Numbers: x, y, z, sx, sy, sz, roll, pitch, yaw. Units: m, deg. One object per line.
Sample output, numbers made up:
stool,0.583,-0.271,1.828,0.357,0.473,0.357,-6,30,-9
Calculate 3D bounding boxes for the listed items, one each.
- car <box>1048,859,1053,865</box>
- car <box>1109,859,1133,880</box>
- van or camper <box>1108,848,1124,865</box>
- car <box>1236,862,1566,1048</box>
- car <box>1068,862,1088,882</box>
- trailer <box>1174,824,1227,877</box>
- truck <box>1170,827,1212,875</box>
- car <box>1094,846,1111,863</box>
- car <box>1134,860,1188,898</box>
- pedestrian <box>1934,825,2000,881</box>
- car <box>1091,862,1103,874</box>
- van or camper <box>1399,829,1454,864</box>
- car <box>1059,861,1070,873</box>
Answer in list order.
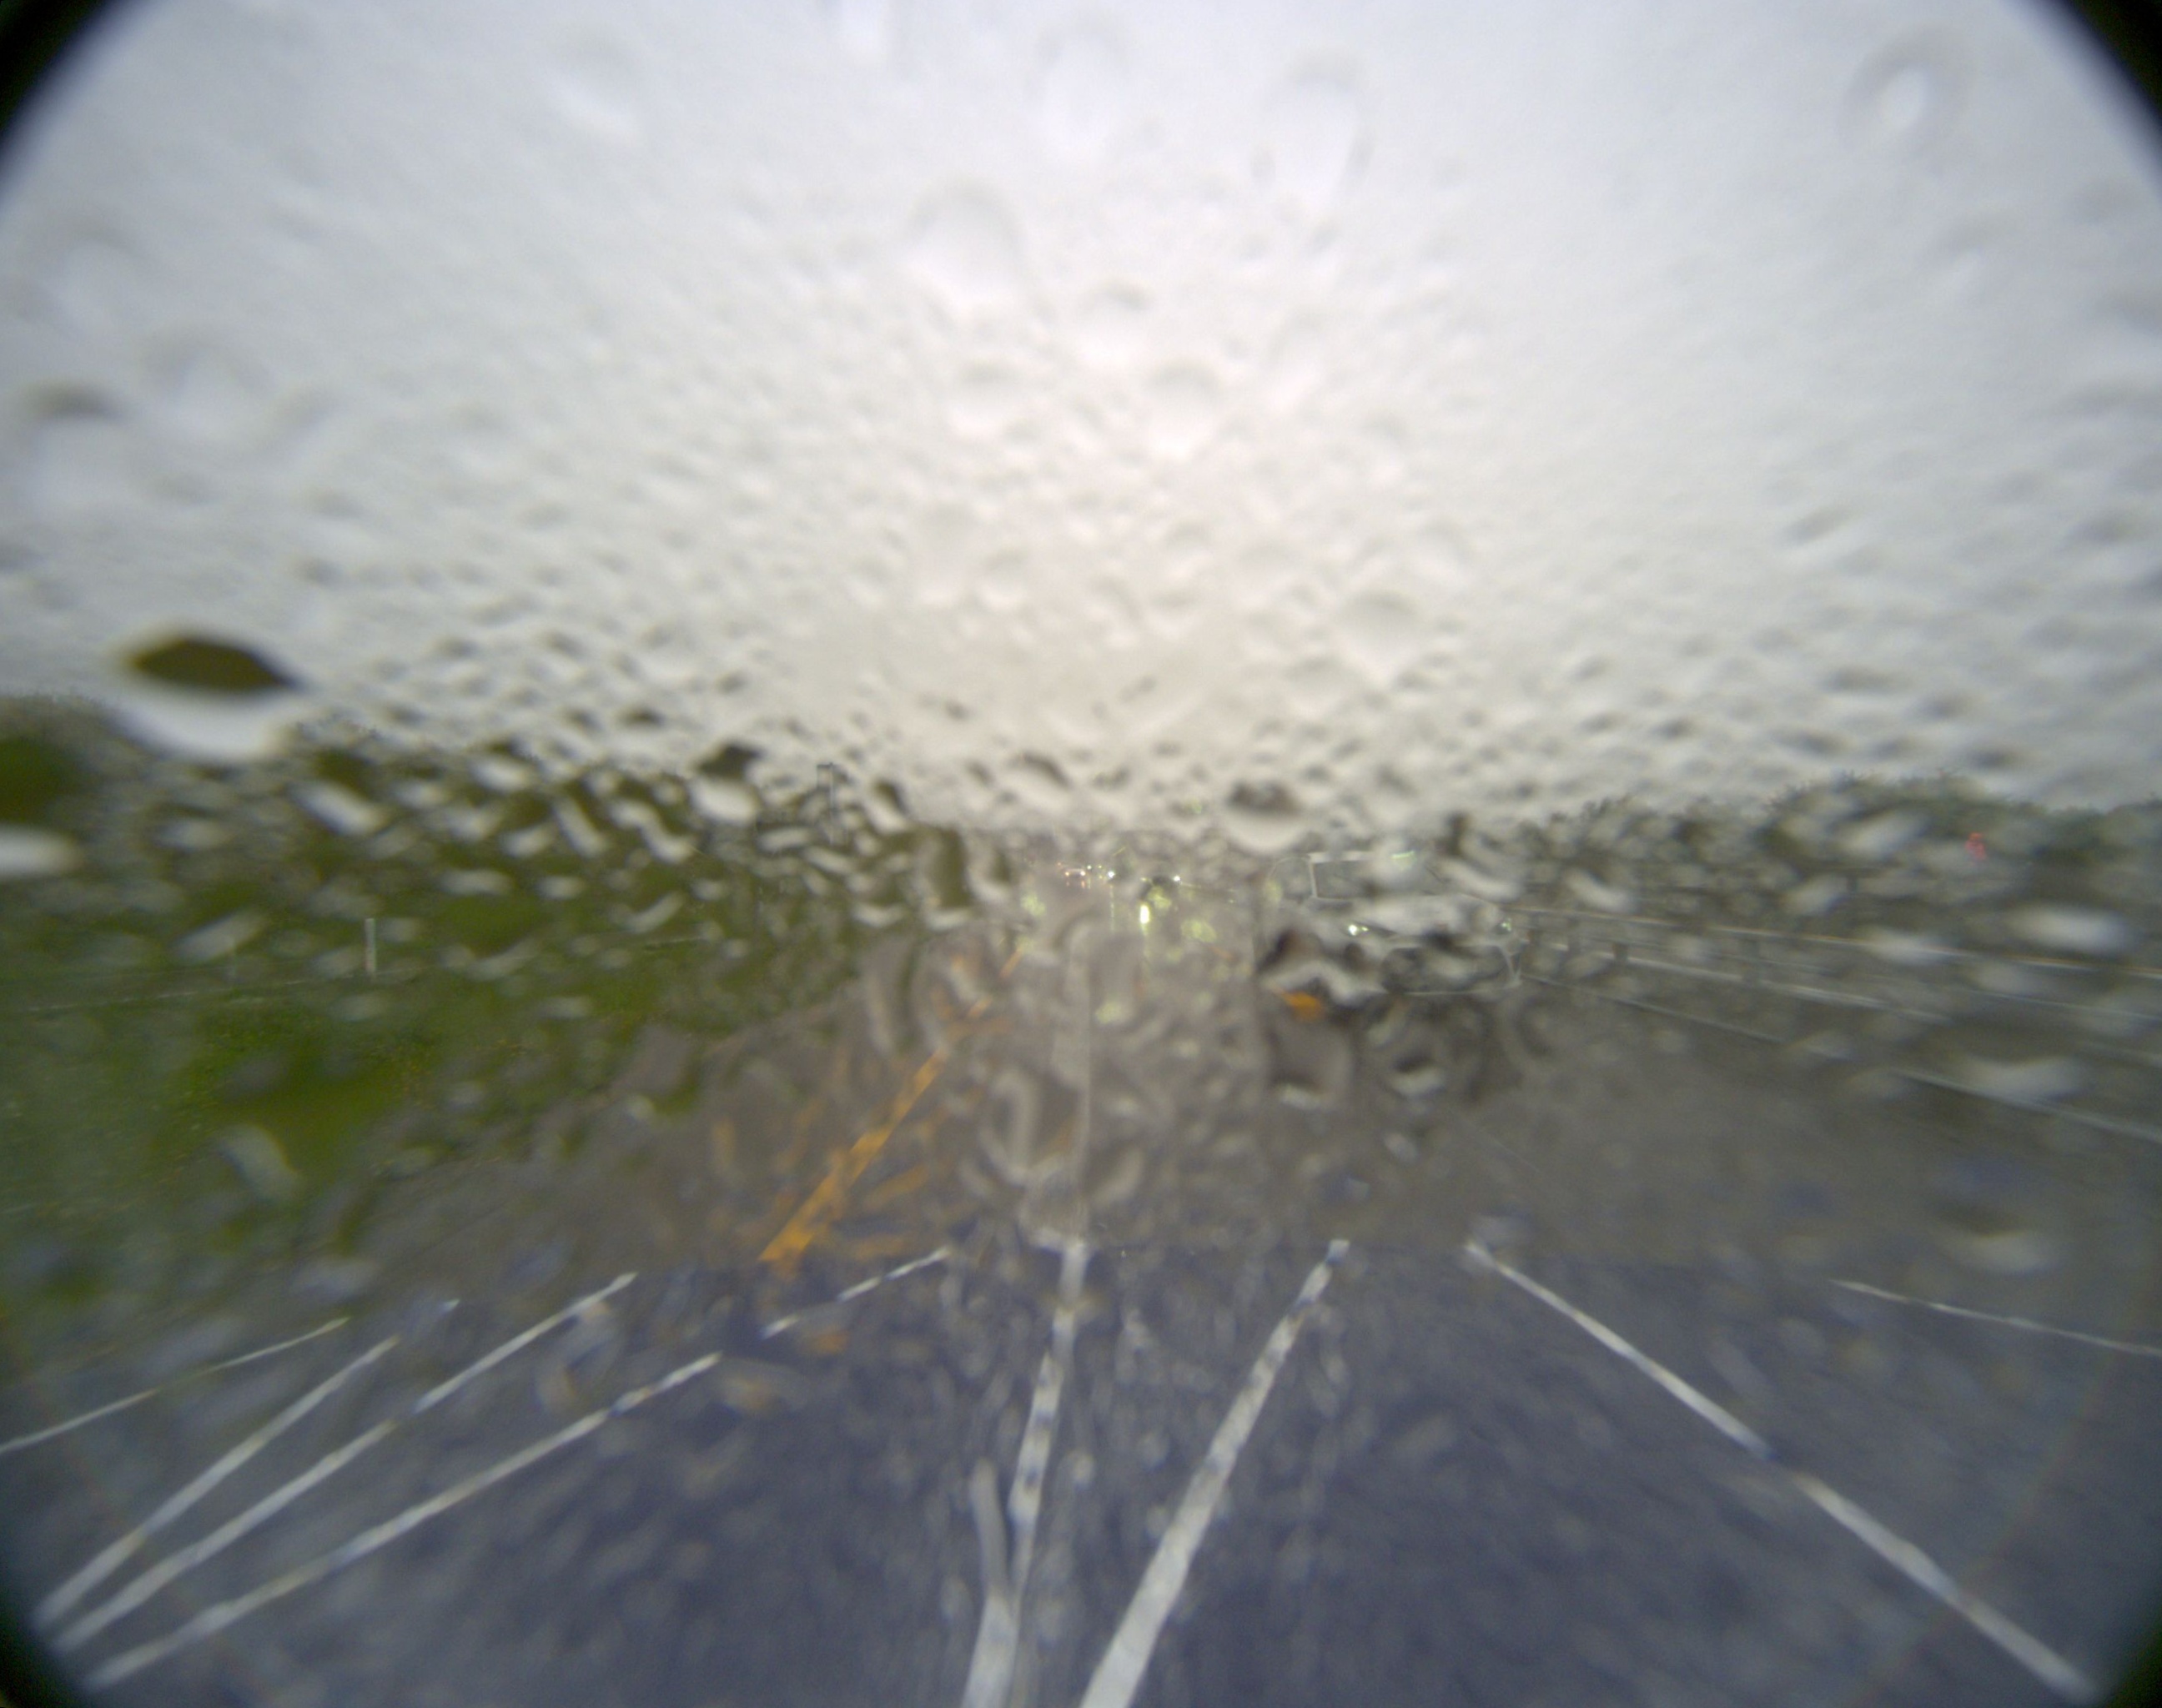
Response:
car,-9.524,2.618,237.503,1.673,1.804,4.000,-1,0,0
car,3.161,1.224,60.477,1.792,1.480,4.001,-3,0,2
van or camper,6.556,0.419,141.492,2.491,2.901,6.222,-3,0,-1
car,3.263,0.900,9.054,1.932,1.541,5.007,-1,0,2
car,-0.270,1.743,74.431,1.881,1.772,4.000,-1,0,1
trailer,9.895,-0.242,64.181,2.619,3.983,11.928,-3,0,1
truck,9.988,-0.269,69.612,2.649,4.024,7.285,-3,0,1
car,4.673,0.122,169.611,3.305,3.717,9.400,-3,0,-1
car,3.645,1.099,35.488,2.069,1.618,5.196,-2,0,1
pedestrian,33.154,-0.021,28.447,1.107,2.002,1.126,-3,0,-2
car,2.172,1.954,105.327,1.589,1.528,3.831,-1,0,1
van or camper,46.723,-0.956,103.184,3.375,4.298,8.506,-3,0,-1
car,-2.589,2.020,117.771,1.674,1.804,3.999,-1,0,-3
